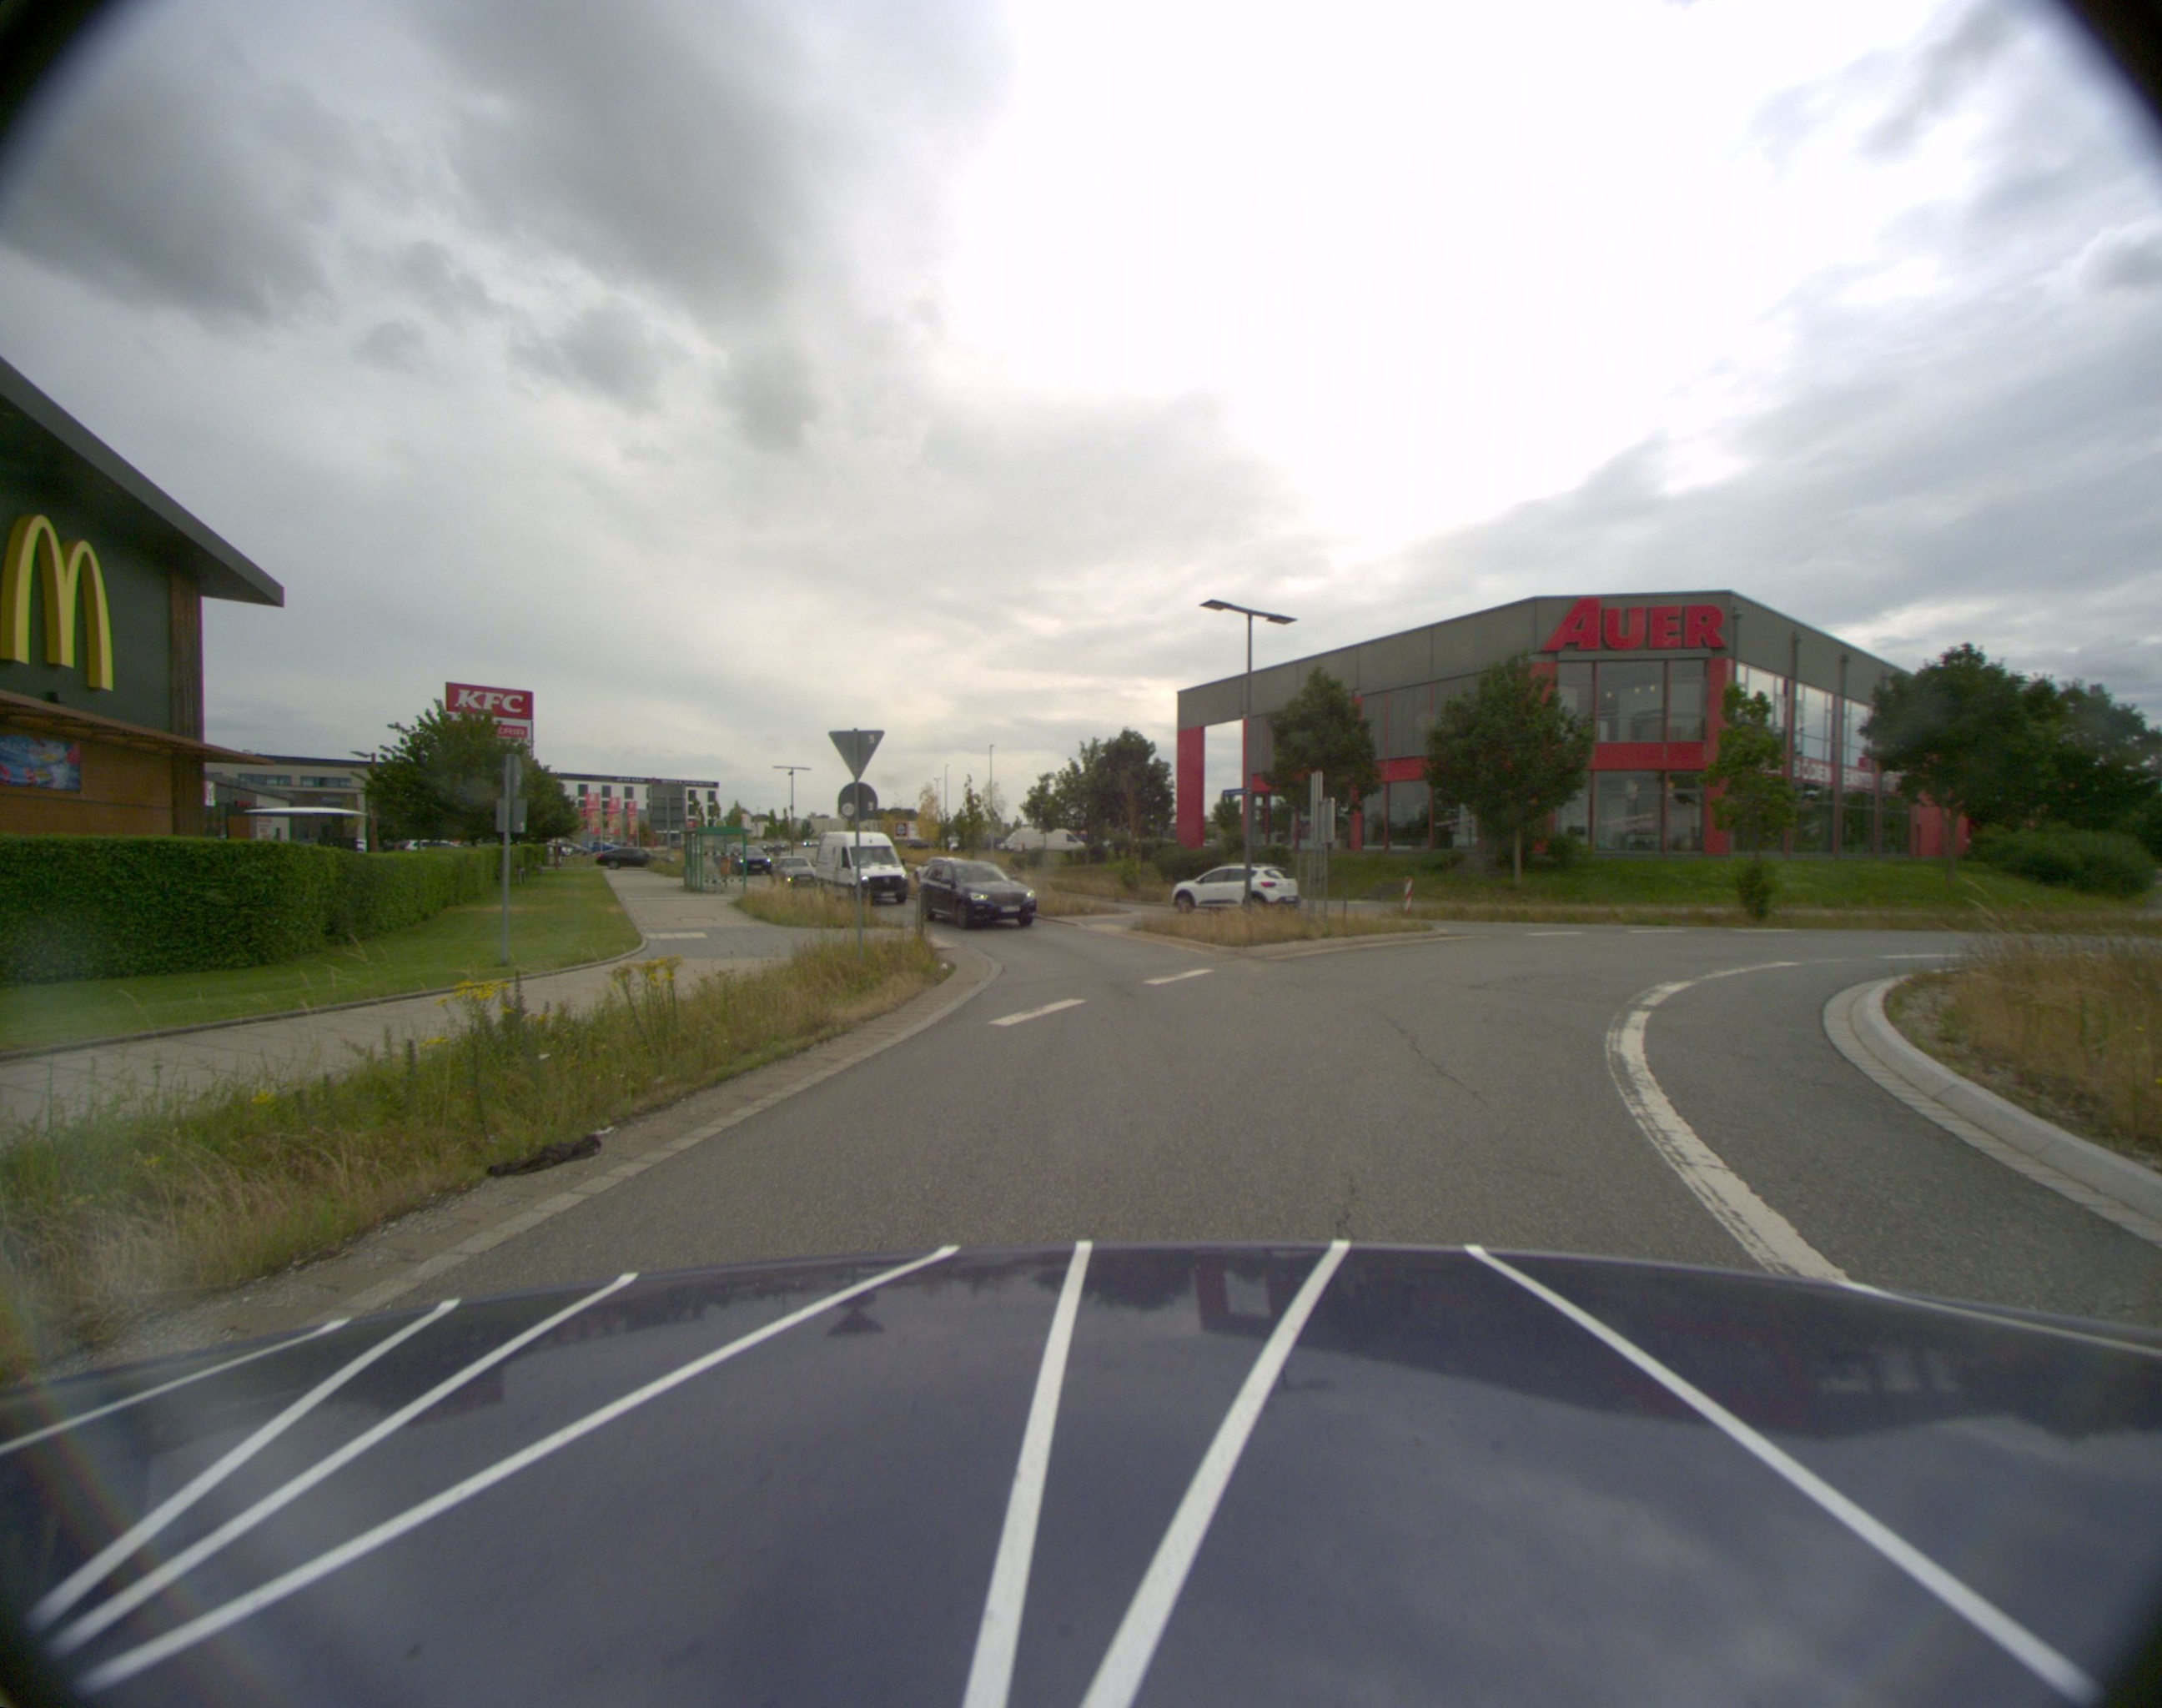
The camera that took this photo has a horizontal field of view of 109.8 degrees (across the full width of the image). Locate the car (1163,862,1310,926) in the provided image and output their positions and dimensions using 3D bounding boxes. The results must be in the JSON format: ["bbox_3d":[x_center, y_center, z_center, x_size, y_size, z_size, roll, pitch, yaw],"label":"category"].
[{"bbox_3d":[4.666,1.140,23.176,4.073,1.550,1.737,2,4,44],"label":"car"}]

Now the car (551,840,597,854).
[{"bbox_3d":[-57.744,-0.803,86.585,4.004,1.477,1.843,0,1,-20],"label":"car"}]

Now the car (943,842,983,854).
[{"bbox_3d":[-16.072,-0.830,103.255,5.063,1.647,2.060,0,1,-23],"label":"car"}]

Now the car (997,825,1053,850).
[{"bbox_3d":[-5.487,-1.660,74.295,5.065,2.360,2.059,-2,4,-33],"label":"car"}]

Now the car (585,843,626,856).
[{"bbox_3d":[-60.206,-0.627,96.299,4.002,1.478,1.844,-1,3,-16],"label":"car"}]

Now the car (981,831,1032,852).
[{"bbox_3d":[-7.963,-1.367,81.752,5.064,2.211,2.060,0,2,-26],"label":"car"}]

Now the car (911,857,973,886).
[{"bbox_3d":[-7.272,0.875,39.347,1.731,1.400,4.632,0,0,-29],"label":"car"}]

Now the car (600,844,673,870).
[{"bbox_3d":[-29.045,0.163,49.740,4.006,1.478,1.842,-2,3,-29],"label":"car"}]

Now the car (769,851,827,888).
[{"bbox_3d":[-13.819,0.712,36.986,1.872,1.599,3.989,0,2,-32],"label":"car"}]

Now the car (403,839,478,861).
[{"bbox_3d":[-46.595,-0.312,55.353,4.007,1.478,1.842,-3,4,-37],"label":"car"}]

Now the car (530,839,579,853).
[{"bbox_3d":[-56.712,-0.880,81.925,4.004,1.477,1.843,0,1,-20],"label":"car"}]

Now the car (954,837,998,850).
[{"bbox_3d":[-13.309,-1.344,96.348,5.063,1.647,2.060,0,1,-23],"label":"car"}]

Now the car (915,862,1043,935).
[{"bbox_3d":[-2.783,1.065,20.048,1.872,1.599,3.989,0,2,-32],"label":"car"}]

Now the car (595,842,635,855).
[{"bbox_3d":[-60.584,-0.722,98.808,4.002,1.478,1.844,-1,3,-16],"label":"car"}]

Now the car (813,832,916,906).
[{"bbox_3d":[-8.410,0.446,29.069,2.031,2.513,6.088,-1,2,-34],"label":"car"}]

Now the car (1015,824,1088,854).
[{"bbox_3d":[-2.665,-1.463,70.106,6.429,2.610,2.059,-2,3,-29],"label":"car"}]

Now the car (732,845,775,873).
[{"bbox_3d":[-20.355,0.281,47.107,1.872,1.599,3.989,0,2,-32],"label":"car"}]
